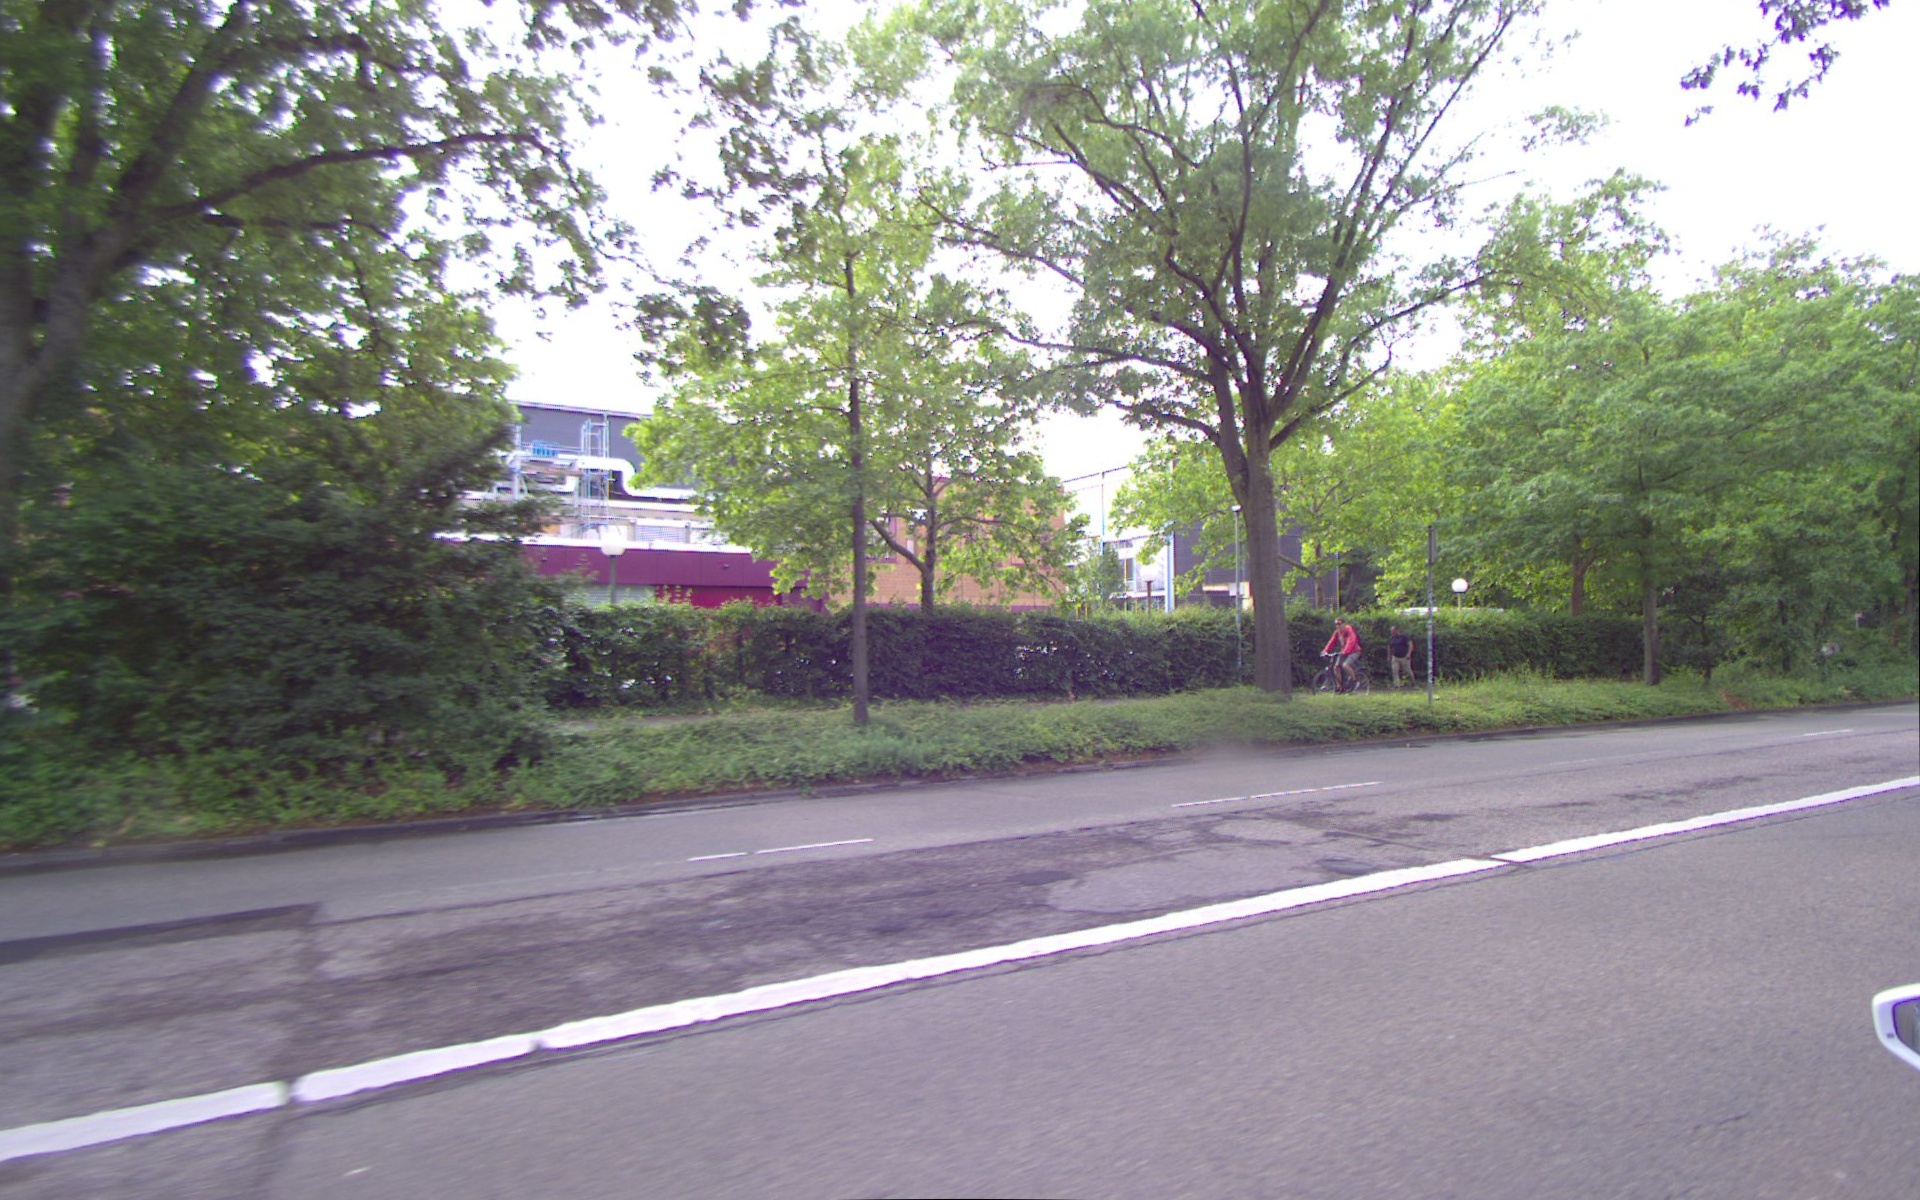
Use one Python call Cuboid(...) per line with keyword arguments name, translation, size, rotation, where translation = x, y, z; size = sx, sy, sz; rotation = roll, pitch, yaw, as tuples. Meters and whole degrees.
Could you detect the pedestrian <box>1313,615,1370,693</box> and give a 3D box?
Cuboid(name="pedestrian", translation=(8.205, 1.148, 21.608), size=(0.838, 1.635, 0.788), rotation=(1, -1, -30))
